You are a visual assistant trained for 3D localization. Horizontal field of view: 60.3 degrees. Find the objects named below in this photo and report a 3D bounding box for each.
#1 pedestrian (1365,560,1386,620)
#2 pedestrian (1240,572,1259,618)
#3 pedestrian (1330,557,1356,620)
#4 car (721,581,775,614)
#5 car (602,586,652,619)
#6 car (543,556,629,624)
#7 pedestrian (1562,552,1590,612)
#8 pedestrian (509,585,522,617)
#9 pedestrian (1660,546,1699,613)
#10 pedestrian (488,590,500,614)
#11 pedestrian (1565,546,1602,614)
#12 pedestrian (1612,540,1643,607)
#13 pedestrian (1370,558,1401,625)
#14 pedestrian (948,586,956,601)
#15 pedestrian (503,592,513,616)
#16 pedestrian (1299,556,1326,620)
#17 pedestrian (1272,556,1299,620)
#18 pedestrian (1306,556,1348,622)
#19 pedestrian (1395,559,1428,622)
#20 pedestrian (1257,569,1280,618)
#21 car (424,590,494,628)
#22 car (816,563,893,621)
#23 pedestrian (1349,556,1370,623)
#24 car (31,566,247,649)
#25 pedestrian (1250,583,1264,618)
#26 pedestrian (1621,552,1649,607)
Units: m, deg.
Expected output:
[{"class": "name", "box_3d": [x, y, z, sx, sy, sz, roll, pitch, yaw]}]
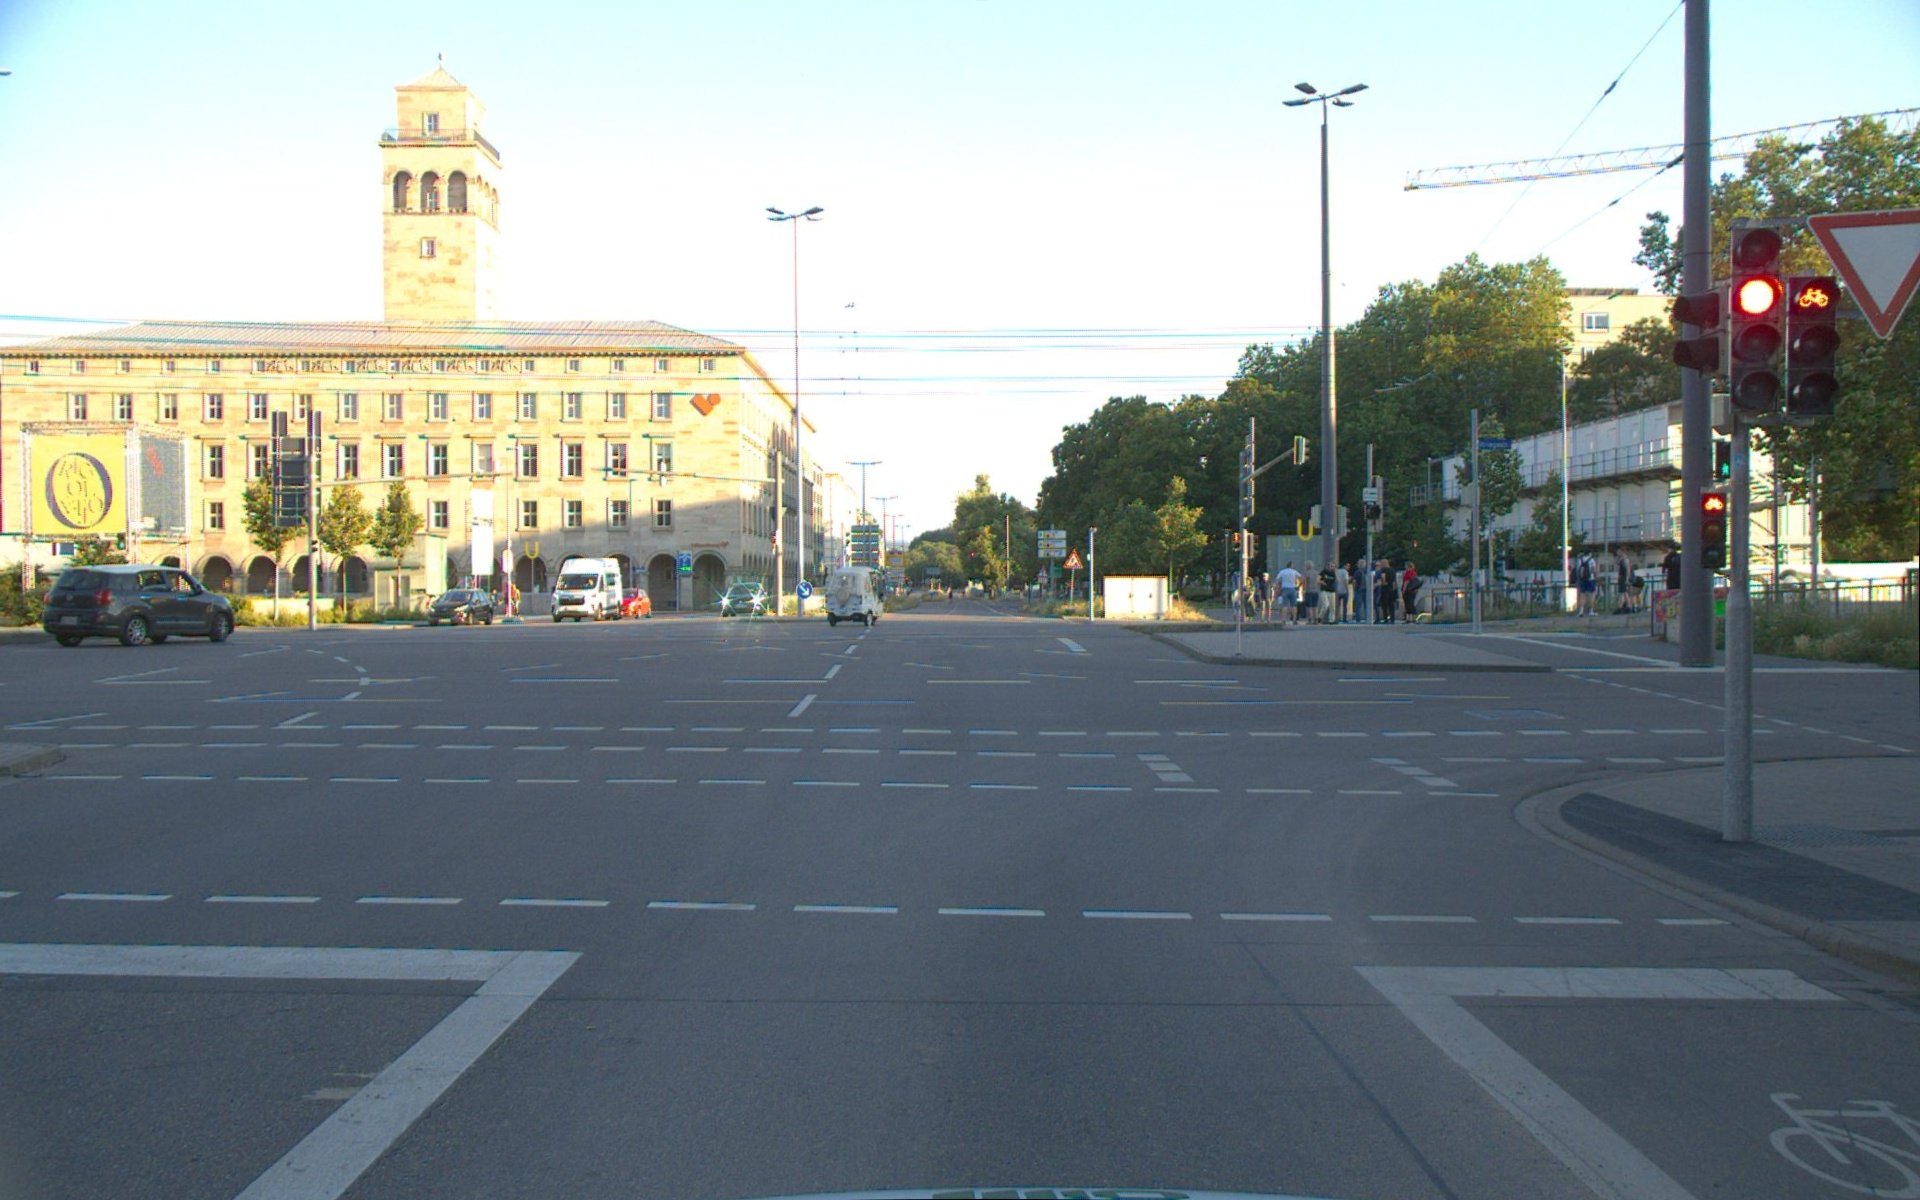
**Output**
[{"class": "pedestrian", "box_3d": [11.888, -0.285, 47.304, 0.560, 1.708, 0.639, 0, 1, 13]}, {"class": "pedestrian", "box_3d": [10.655, -0.181, 60.813, 0.548, 1.683, 0.902, 0, 1, 20]}, {"class": "pedestrian", "box_3d": [10.815, -0.341, 46.708, 0.695, 1.755, 0.916, 0, 1, 13]}, {"class": "car", "box_3d": [-9.254, -0.138, 72.485, 1.785, 1.365, 4.001, 0, 1, 1]}, {"class": "car", "box_3d": [-16.256, 0.109, 80.925, 1.703, 1.513, 4.000, -1, 1, -1]}, {"class": "car", "box_3d": [-16.243, -0.477, 72.230, 2.232, 2.824, 6.085, -1, 1, 1]}, {"class": "pedestrian", "box_3d": [16.785, -0.494, 45.068, 0.559, 1.620, 0.536, -1, 0, -1]}, {"class": "pedestrian", "box_3d": [-24.483, 0.050, 91.079, 0.609, 1.774, 0.459, 1, -1, -6]}, {"class": "pedestrian", "box_3d": [19.059, -0.549, 43.814, 0.658, 1.755, 0.707, -1, 1, -27]}, {"class": "pedestrian", "box_3d": [-25.373, 0.107, 90.019, 0.496, 1.323, 0.700, 1, -1, -6]}, {"class": "pedestrian", "box_3d": [16.482, -0.530, 43.725, 0.706, 1.755, 0.659, -1, 1, -40]}, {"class": "pedestrian", "box_3d": [17.607, -0.693, 43.639, 0.696, 1.755, 0.669, 0, 1, 16]}, {"class": "pedestrian", "box_3d": [11.792, -0.237, 45.850, 0.788, 1.822, 0.801, 0, 1, 13]}, {"class": "pedestrian", "box_3d": [-0.915, -0.758, 194.706, 0.888, 1.700, 1.306, -1, 1, -2]}, {"class": "pedestrian", "box_3d": [-24.584, 0.219, 89.923, 0.412, 1.323, 0.459, 1, -1, -6]}, {"class": "pedestrian", "box_3d": [9.761, -0.332, 45.801, 0.695, 1.755, 0.669, 0, 1, 13]}, {"class": "pedestrian", "box_3d": [9.059, -0.344, 45.970, 0.695, 1.755, 0.669, 0, 1, 14]}, {"class": "pedestrian", "box_3d": [9.920, -0.310, 44.676, 0.896, 1.755, 0.710, 0, 1, 36]}, {"class": "pedestrian", "box_3d": [12.608, -0.266, 46.197, 0.826, 1.764, 0.706, 0, 1, 11]}, {"class": "pedestrian", "box_3d": [11.332, -0.230, 60.762, 0.665, 1.788, 0.902, 0, 1, 20]}, {"class": "car", "box_3d": [-21.134, 0.347, 69.887, 1.786, 1.491, 4.156, -1, 1, -2]}, {"class": "car", "box_3d": [-3.203, -0.256, 50.733, 1.451, 1.725, 2.976, 0, 1, 15]}, {"class": "pedestrian", "box_3d": [11.064, -0.292, 45.831, 0.560, 1.822, 0.639, 0, 1, 13]}, {"class": "car", "box_3d": [-17.059, 0.125, 34.588, 1.702, 1.632, 4.137, 0, 1, 15]}, {"class": "pedestrian", "box_3d": [15.946, 0.027, 88.733, 0.652, 1.874, 0.713, 0, 1, 4]}, {"class": "pedestrian", "box_3d": [18.071, -0.548, 44.274, 0.662, 1.466, 0.714, 0, 1, 21]}]
